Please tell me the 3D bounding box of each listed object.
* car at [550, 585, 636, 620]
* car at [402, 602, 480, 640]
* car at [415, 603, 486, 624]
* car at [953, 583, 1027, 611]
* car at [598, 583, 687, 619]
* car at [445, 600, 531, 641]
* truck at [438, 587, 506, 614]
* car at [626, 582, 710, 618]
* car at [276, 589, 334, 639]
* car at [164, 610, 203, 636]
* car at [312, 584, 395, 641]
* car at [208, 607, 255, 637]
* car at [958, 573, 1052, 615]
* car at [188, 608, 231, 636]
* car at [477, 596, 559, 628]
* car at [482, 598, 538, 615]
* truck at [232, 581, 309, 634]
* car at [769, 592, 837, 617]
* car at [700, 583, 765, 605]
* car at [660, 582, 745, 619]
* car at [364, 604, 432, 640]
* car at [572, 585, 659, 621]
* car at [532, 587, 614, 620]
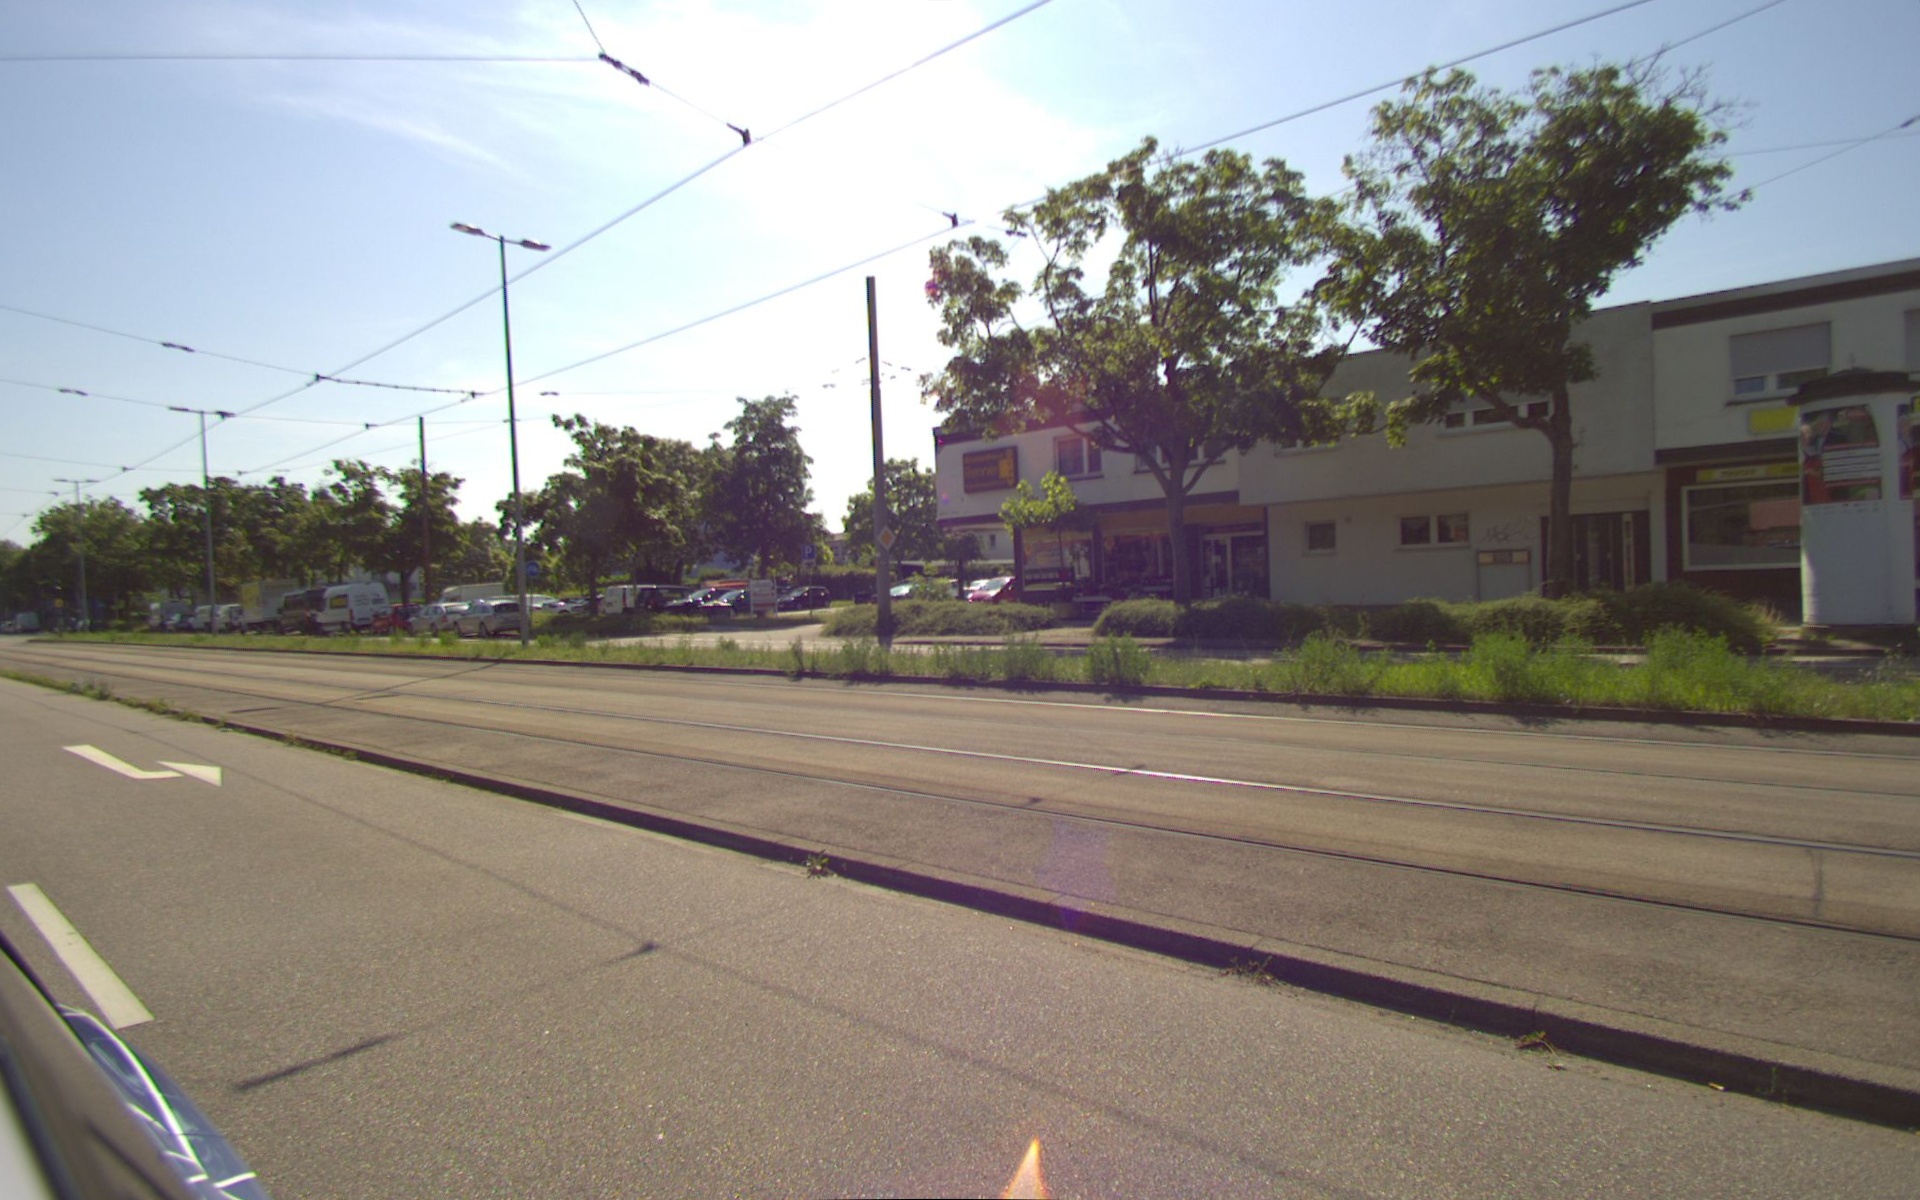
[{"bbox_3d":[-20.585,0.141,56.814,1.988,1.751,4.068,-2,1,38],"label":"car"},{"bbox_3d":[-23.832,0.979,46.419,4.255,1.544,1.654,-2,4,42],"label":"car"},{"bbox_3d":[-36.706,0.966,72.944,1.676,1.345,4.198,-2,1,42],"label":"car"},{"bbox_3d":[1.668,-0.172,54.856,1.676,1.345,4.197,-2,1,43],"label":"car"},{"bbox_3d":[-16.775,0.034,53.617,1.988,1.751,4.068,-2,1,38],"label":"car"},{"bbox_3d":[-20.040,0.880,42.894,4.255,1.544,1.654,-2,4,42],"label":"car"},{"bbox_3d":[-47.452,0.022,98.541,1.988,2.398,5.584,-2,1,38],"label":"truck"},{"bbox_3d":[-14.954,-0.016,51.953,1.676,1.646,3.761,-2,1,43],"label":"car"},{"bbox_3d":[-36.814,0.808,56.839,4.005,2.643,1.483,-2,4,42],"label":"car"},{"bbox_3d":[-59.032,1.725,76.924,3.685,1.799,1.484,-2,4,40],"label":"car"},{"bbox_3d":[-31.801,0.662,53.017,5.201,2.673,2.036,-2,4,42],"label":"car"},{"bbox_3d":[-49.350,1.494,68.495,4.631,1.817,1.483,-2,4,42],"label":"car"},{"bbox_3d":[1.969,-0.264,43.426,1.676,1.616,4.197,-2,1,43],"label":"car"},{"bbox_3d":[-54.216,1.589,73.091,4.056,1.859,1.484,-2,4,40],"label":"car"},{"bbox_3d":[-27.958,0.795,63.909,5.739,1.824,2.560,-2,1,42],"label":"car"},{"bbox_3d":[-40.482,0.593,91.102,1.676,1.345,4.198,-2,1,42],"label":"car"},{"bbox_3d":[-42.918,0.480,62.931,5.902,2.955,2.476,-2,4,42],"label":"truck"},{"bbox_3d":[-10.022,0.277,64.803,1.676,1.345,4.197,-2,1,43],"label":"car"},{"bbox_3d":[-15.734,-0.436,70.180,1.675,1.345,4.201,-2,1,39],"label":"car"},{"bbox_3d":[-12.660,0.018,49.886,1.676,1.646,3.761,-2,1,43],"label":"car"},{"bbox_3d":[-27.545,1.064,49.551,3.791,1.544,1.654,-2,4,41],"label":"car"},{"bbox_3d":[-18.721,0.149,55.136,1.988,1.751,4.068,-2,1,38],"label":"car"},{"bbox_3d":[-22.698,0.166,59.477,1.988,1.751,4.068,-2,1,38],"label":"car"}]
